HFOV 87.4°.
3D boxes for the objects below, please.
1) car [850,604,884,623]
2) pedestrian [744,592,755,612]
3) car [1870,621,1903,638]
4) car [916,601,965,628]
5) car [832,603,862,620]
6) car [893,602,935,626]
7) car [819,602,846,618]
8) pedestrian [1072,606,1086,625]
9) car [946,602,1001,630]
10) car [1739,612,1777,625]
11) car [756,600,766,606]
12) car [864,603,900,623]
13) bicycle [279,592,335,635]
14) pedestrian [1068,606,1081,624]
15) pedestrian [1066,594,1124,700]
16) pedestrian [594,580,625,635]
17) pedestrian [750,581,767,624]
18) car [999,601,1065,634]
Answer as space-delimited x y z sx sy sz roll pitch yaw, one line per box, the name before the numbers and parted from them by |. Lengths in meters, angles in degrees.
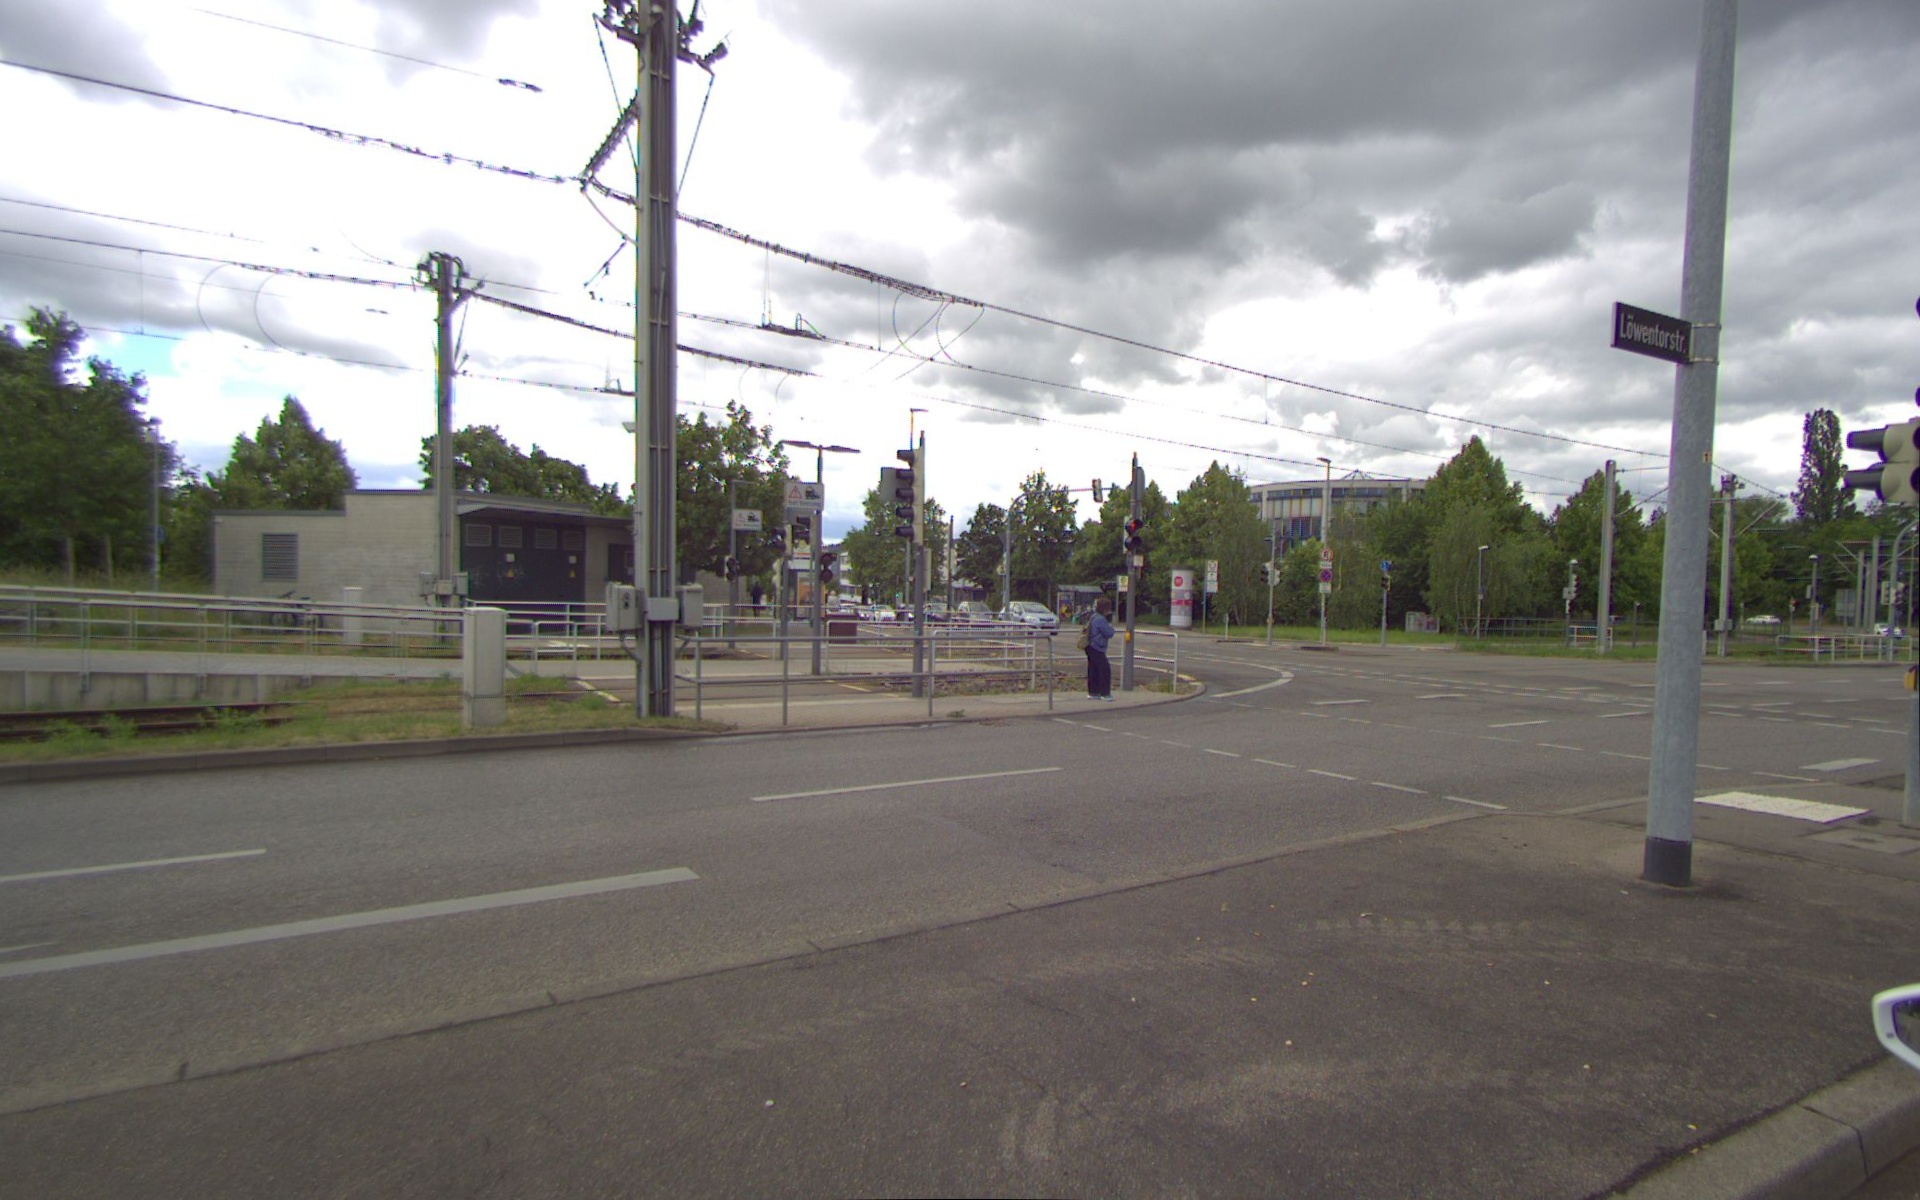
car | -7.428 1.024 79.676 1.706 1.456 3.991 1 0 -20
pedestrian | -17.182 0.155 82.064 0.771 1.649 0.660 1 0 -22
car | 95.249 2.992 103.257 1.804 1.650 4.413 0 -1 34
car | -1.158 0.818 58.157 1.706 1.456 3.731 1 0 -20
car | -9.779 0.988 86.707 1.706 1.456 3.731 1 0 -20
car | -3.012 0.890 64.923 1.706 1.456 3.731 1 0 -20
car | -11.942 0.964 94.064 1.706 1.456 3.731 1 0 -20
pedestrian | 8.470 1.098 71.506 0.652 1.322 0.780 1 0 -16
car | 0.681 0.845 53.661 1.706 1.456 3.731 1 0 -20
car | 115.180 2.692 145.032 1.963 1.773 3.995 1 0 -7
car | -46.149 0.677 232.332 1.706 1.456 3.731 1 0 -20
car | -5.822 0.964 74.774 1.706 1.456 3.731 1 0 -20
bicycle | -17.333 0.348 26.669 1.452 1.101 0.492 1 0 22
pedestrian | 8.311 1.081 72.912 0.652 1.321 0.780 1 0 -16
pedestrian | 2.076 0.703 15.432 0.701 1.584 0.533 1 1 -44
pedestrian | -10.487 0.230 30.030 0.699 1.628 0.651 1 0 -35
pedestrian | -9.477 0.139 47.251 0.738 1.993 0.795 1 0 -9
car | 3.294 0.801 46.802 1.706 1.456 3.731 1 0 -20
